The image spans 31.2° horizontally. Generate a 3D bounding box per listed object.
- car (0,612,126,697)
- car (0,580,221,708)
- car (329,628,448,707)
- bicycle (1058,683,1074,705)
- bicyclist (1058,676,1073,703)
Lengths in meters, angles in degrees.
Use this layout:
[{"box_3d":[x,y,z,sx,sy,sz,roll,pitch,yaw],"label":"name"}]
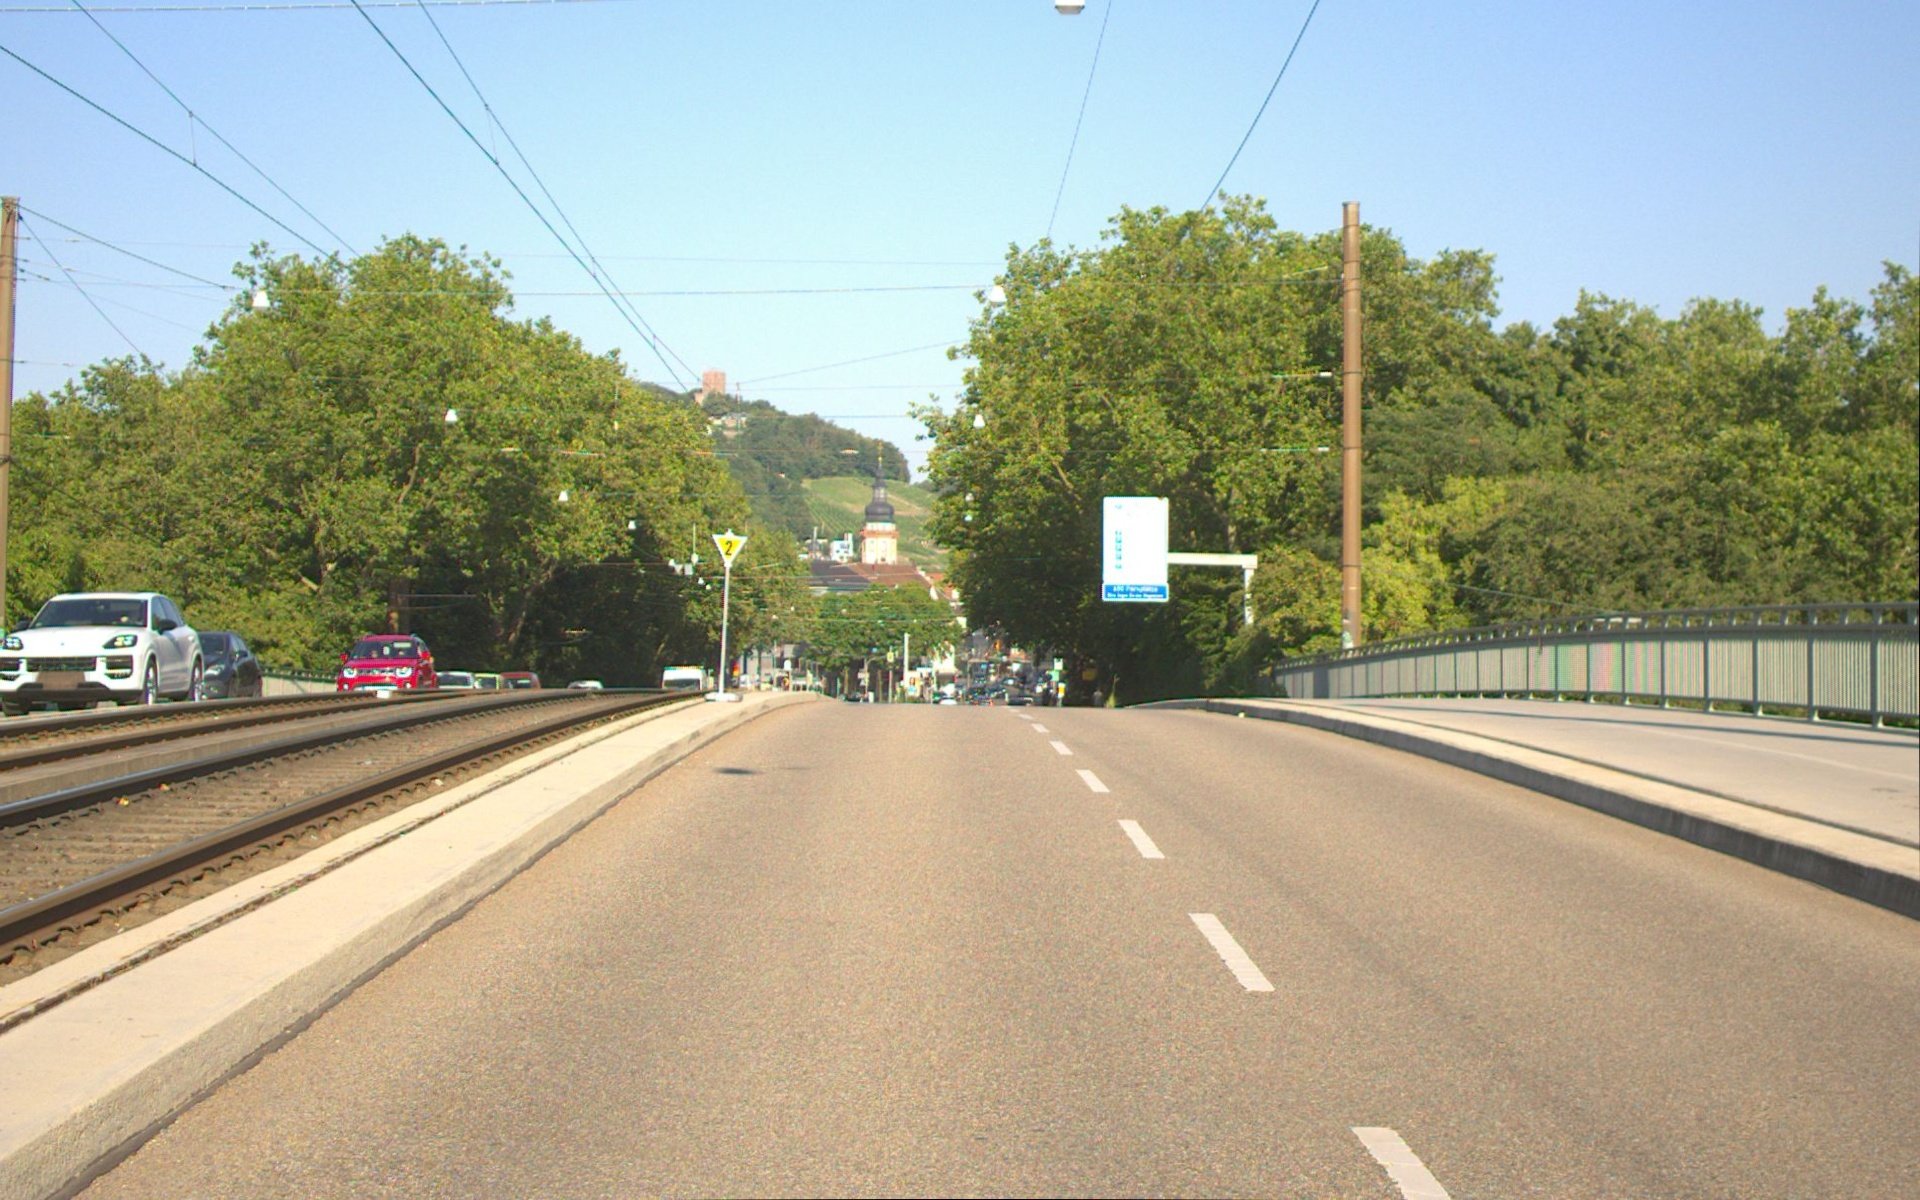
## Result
[{"box_3d":[-15.703,0.908,58.875,1.684,1.352,4.920,1,0,-1],"label":"car"},{"box_3d":[-11.675,0.571,47.147,2.001,1.631,5.090,1,0,-1],"label":"car"},{"box_3d":[-11.878,1.437,71.672,1.808,1.515,4.000,2,-2,-1],"label":"car"},{"box_3d":[6.372,5.671,207.105,0.887,1.317,2.639,0,-2,0],"label":"bicycle"},{"box_3d":[6.375,5.389,207.213,0.887,1.633,1.164,0,-2,0],"label":"bicyclist"}]
